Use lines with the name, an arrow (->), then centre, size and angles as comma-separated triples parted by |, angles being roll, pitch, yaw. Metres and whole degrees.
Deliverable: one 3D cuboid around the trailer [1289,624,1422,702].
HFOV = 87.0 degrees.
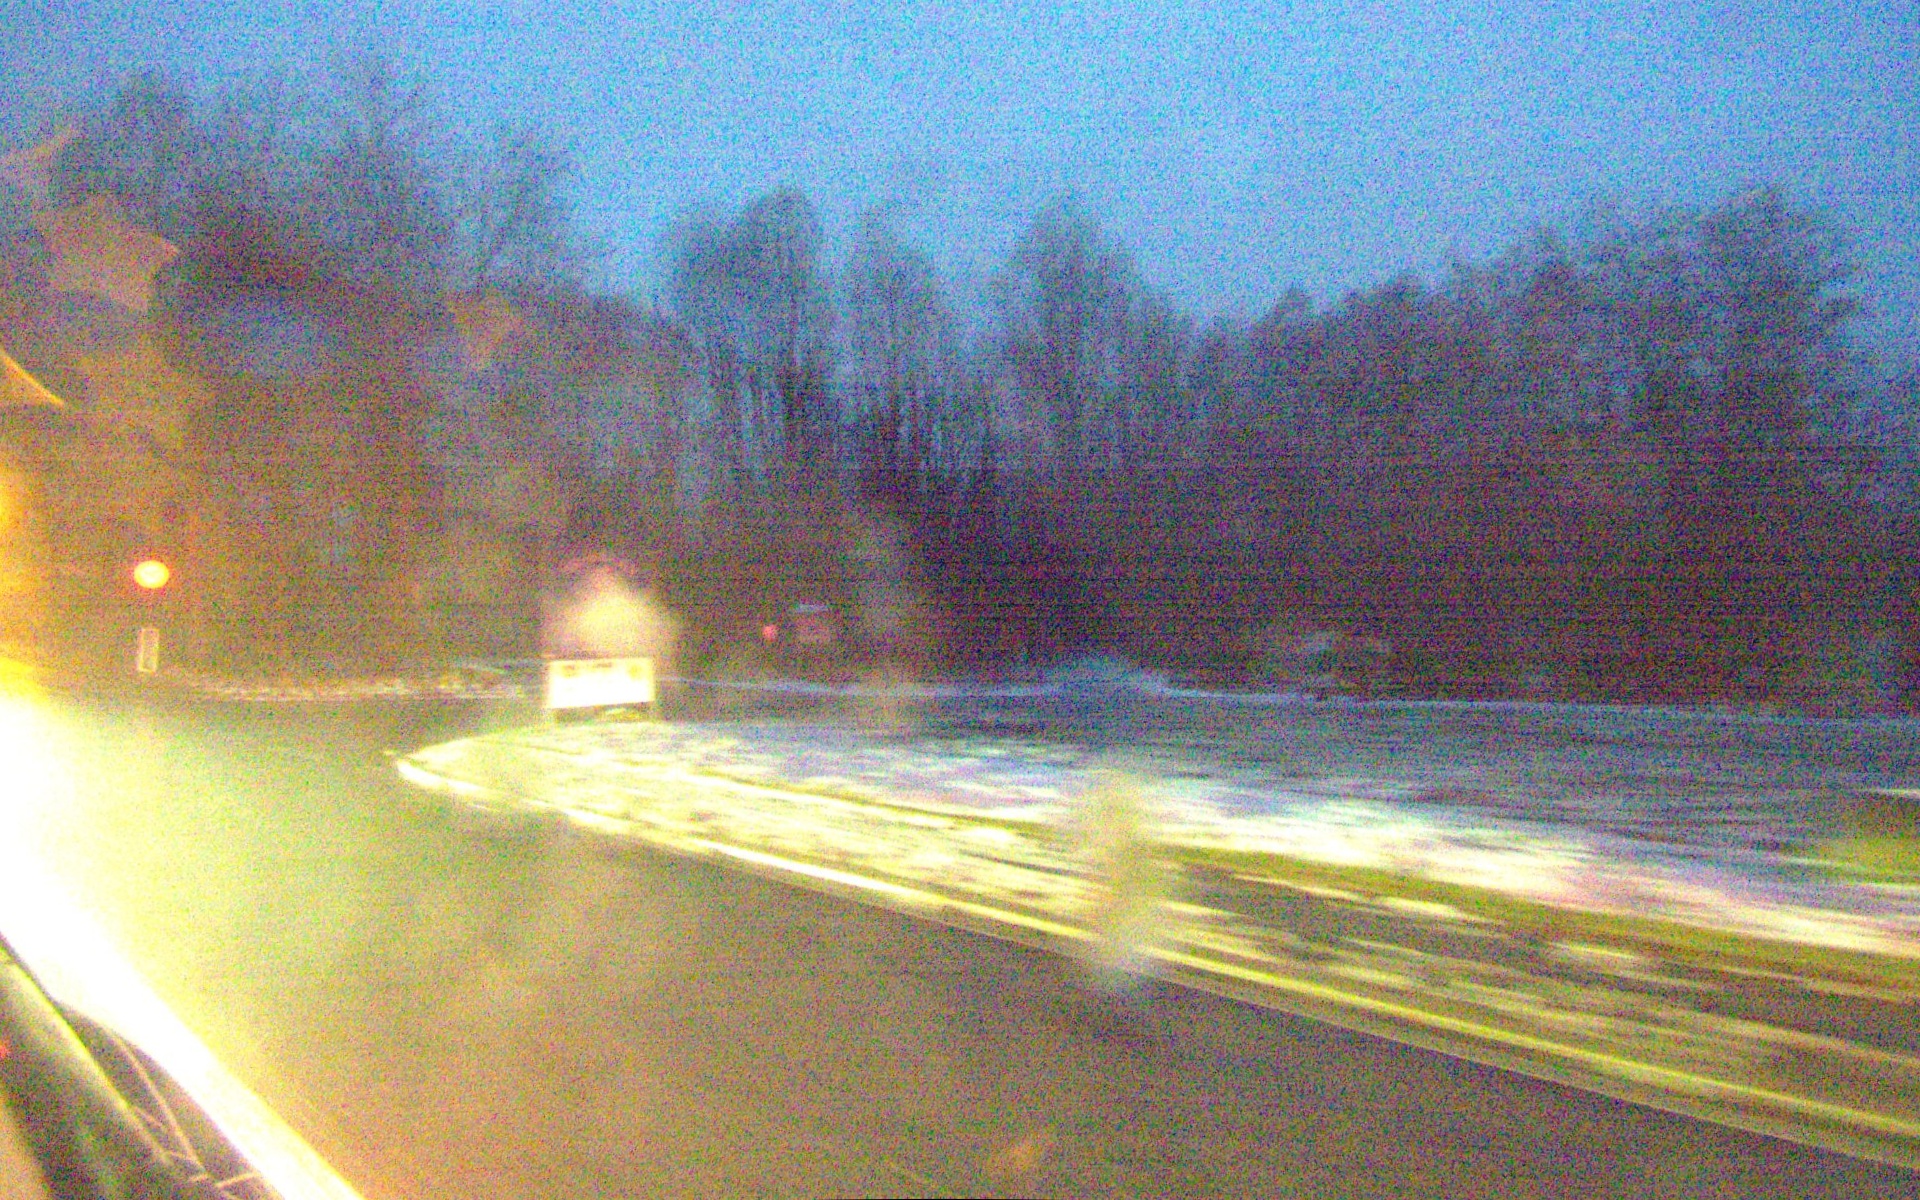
trailer -> 12.532, 1.988, 32.065 | 3.745, 2.234, 1.980 | 4, -3, -31
